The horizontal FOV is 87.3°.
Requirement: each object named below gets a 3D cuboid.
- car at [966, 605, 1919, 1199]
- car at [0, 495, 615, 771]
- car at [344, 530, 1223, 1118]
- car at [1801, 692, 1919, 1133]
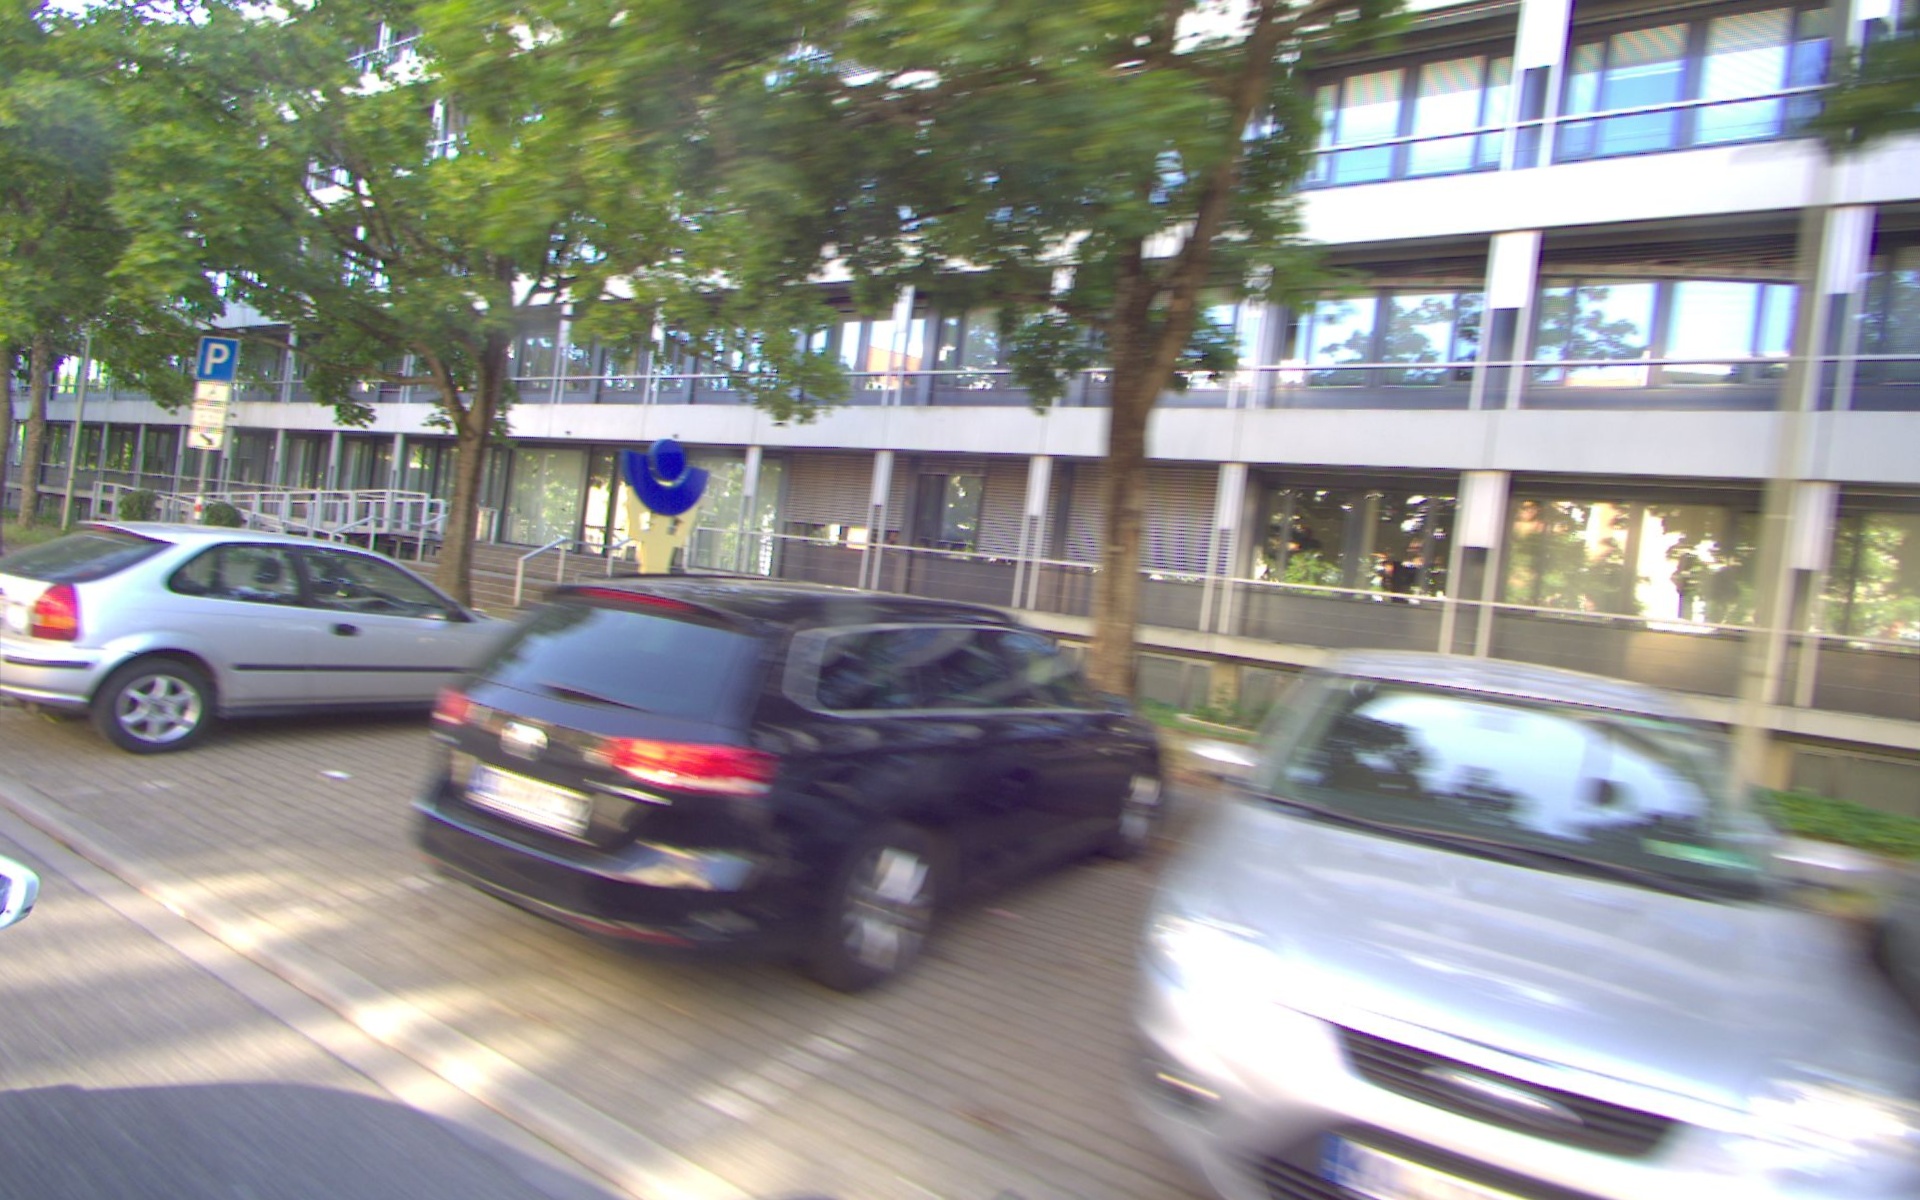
[{"bbox_3d":[1.939,0.951,3.764,1.969,1.512,4.291,7,1,28],"label":"car"},{"bbox_3d":[-4.766,0.190,7.468,1.681,1.438,3.973,7,1,30],"label":"car"},{"bbox_3d":[-0.269,0.663,5.162,1.734,1.513,4.592,7,2,32],"label":"car"},{"bbox_3d":[3.968,1.200,2.758,1.588,1.512,3.749,7,1,27],"label":"car"}]
